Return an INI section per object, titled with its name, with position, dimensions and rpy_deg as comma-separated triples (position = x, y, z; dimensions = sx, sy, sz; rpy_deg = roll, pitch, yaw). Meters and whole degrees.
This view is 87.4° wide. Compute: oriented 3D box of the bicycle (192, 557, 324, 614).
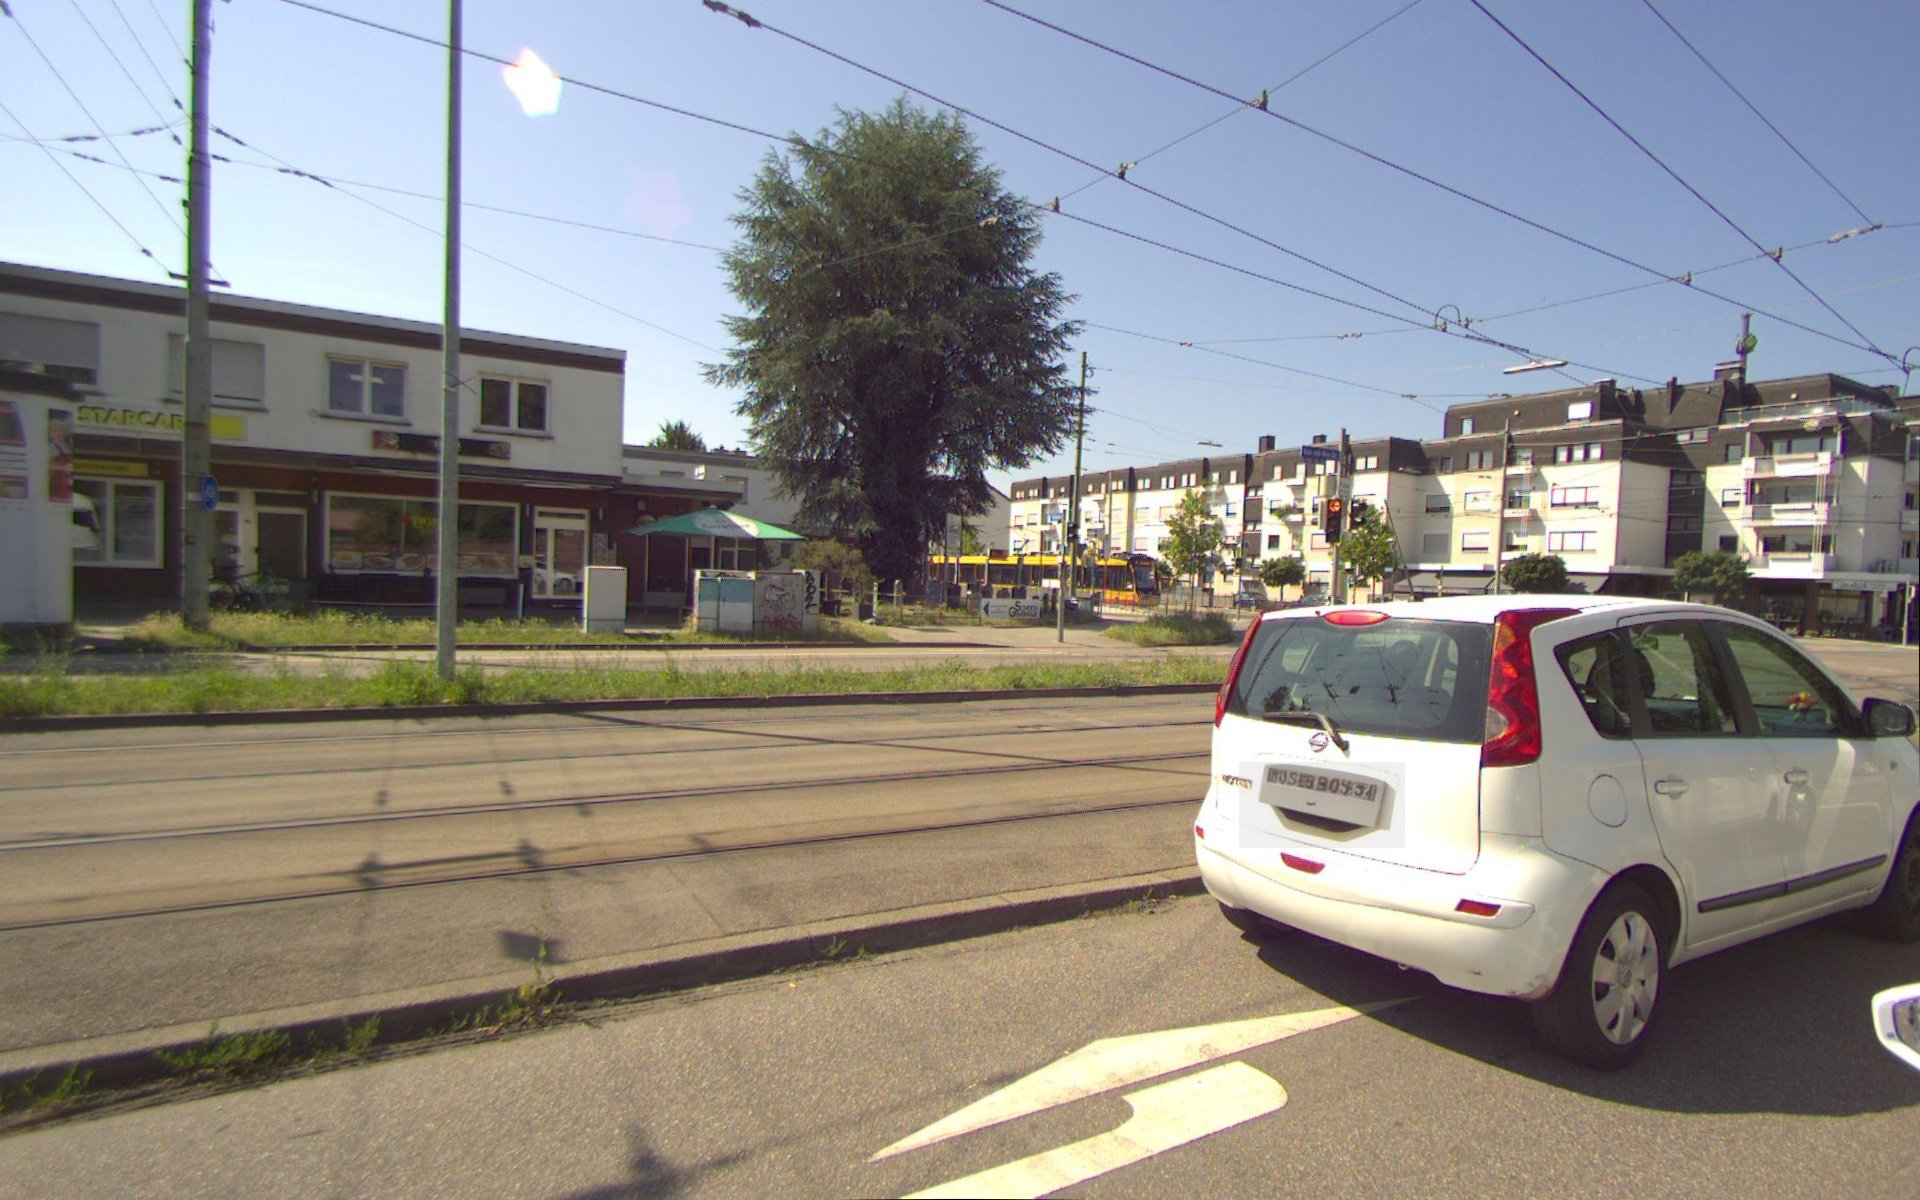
[bicycle]
position = -15.518, -0.295, 22.276
dimensions = 2.306, 1.167, 0.783
rpy_deg = 2, -1, -30

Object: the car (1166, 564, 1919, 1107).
[car]
position = 2.919, 0.697, 4.608
dimensions = 3.759, 1.587, 1.634
rpy_deg = 0, 0, -31
